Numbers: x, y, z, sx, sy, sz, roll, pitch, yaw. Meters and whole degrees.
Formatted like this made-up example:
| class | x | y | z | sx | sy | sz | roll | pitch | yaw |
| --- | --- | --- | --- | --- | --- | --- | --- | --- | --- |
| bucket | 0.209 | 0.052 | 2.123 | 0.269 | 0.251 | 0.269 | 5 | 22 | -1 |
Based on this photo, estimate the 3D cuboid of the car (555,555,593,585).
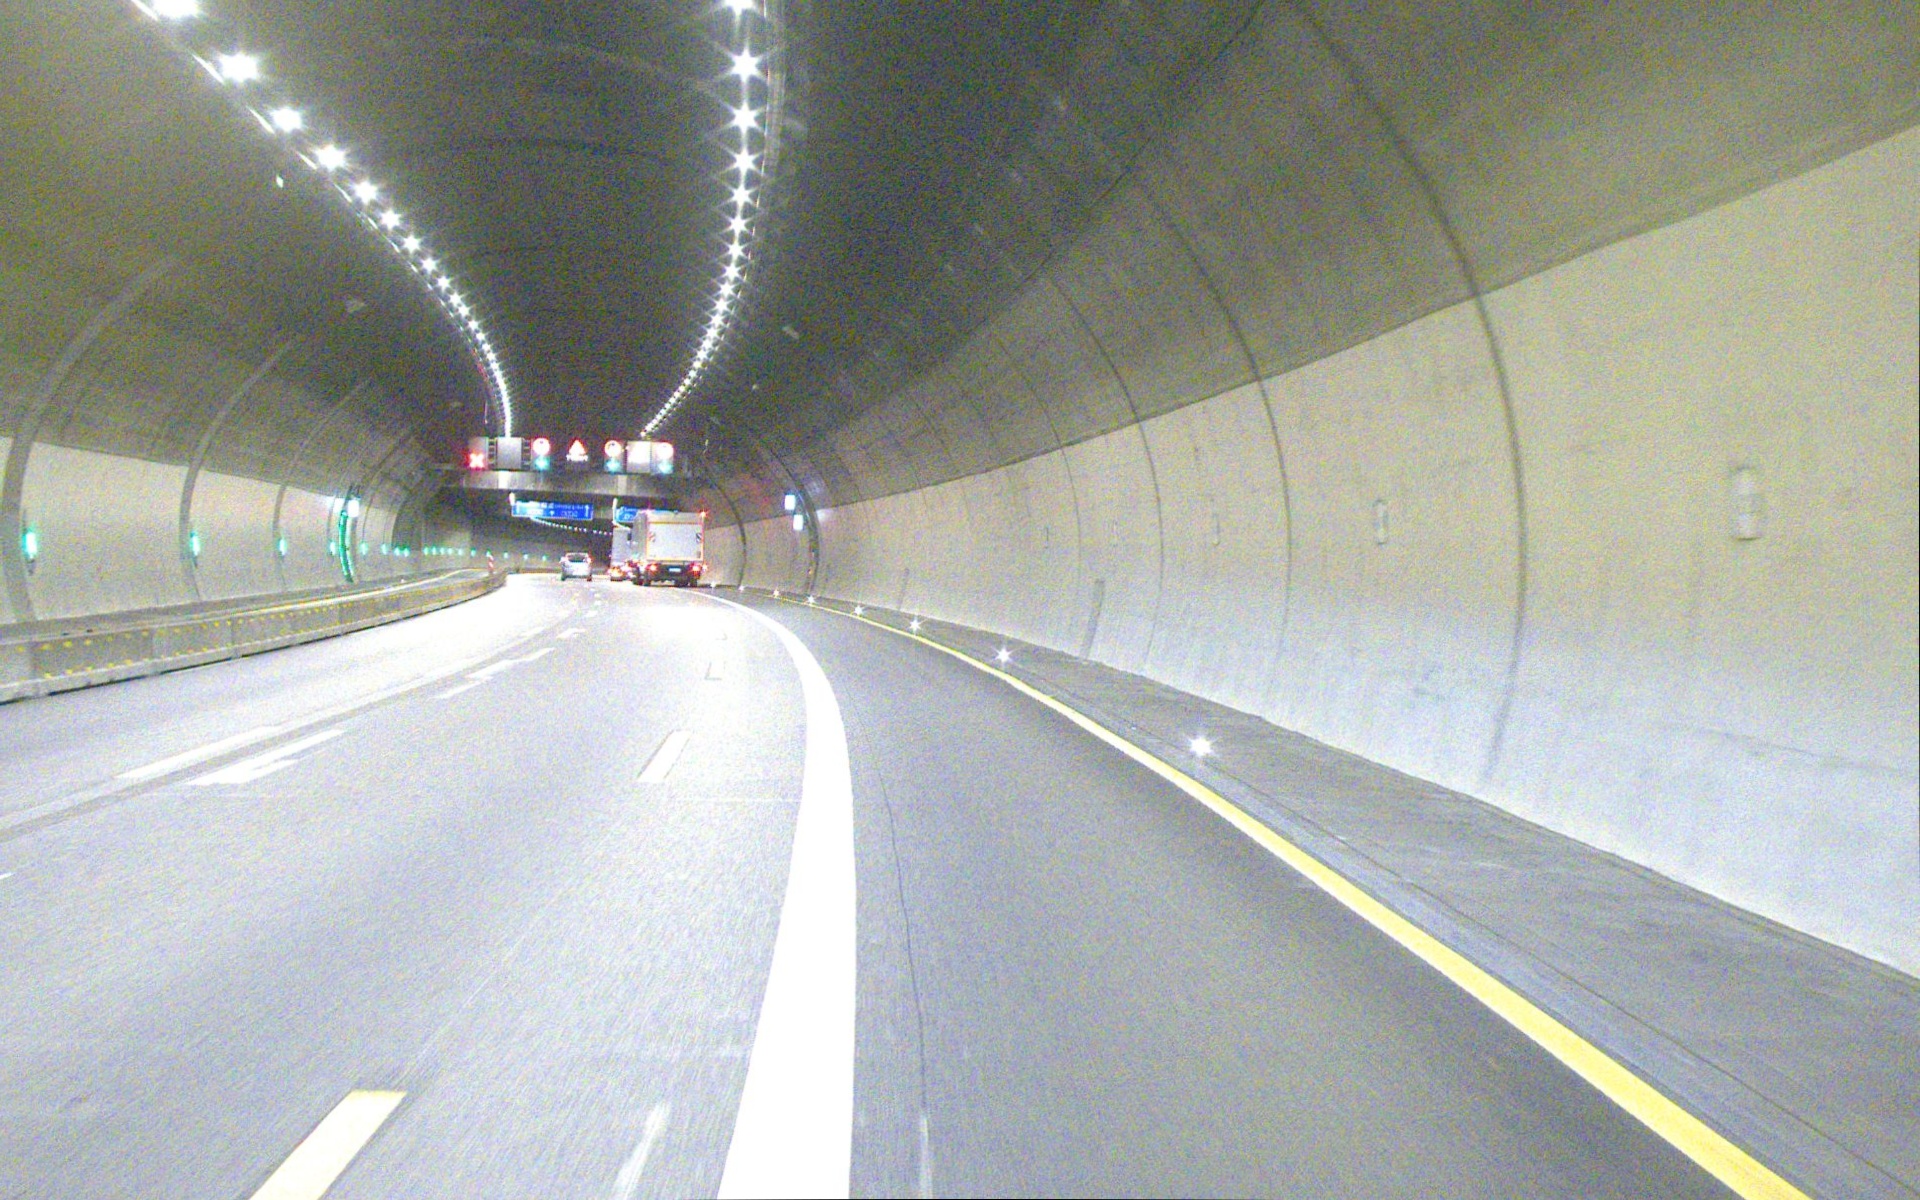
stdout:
| class | x | y | z | sx | sy | sz | roll | pitch | yaw |
| --- | --- | --- | --- | --- | --- | --- | --- | --- | --- |
| car | -21.854 | -1.694 | 194.616 | 1.993 | 1.576 | 4.001 | 2 | 1 | -8 |

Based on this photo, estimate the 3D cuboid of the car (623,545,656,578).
| class | x | y | z | sx | sy | sz | roll | pitch | yaw |
| --- | --- | --- | --- | --- | --- | --- | --- | --- | --- |
| car | -20.377 | -2.452 | 218.631 | 1.993 | 2.007 | 4.001 | 1 | 1 | -5 |

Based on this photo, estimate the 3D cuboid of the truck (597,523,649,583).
| class | x | y | z | sx | sy | sz | roll | pitch | yaw |
| --- | --- | --- | --- | --- | --- | --- | --- | --- | --- |
| truck | -25.299 | -3.540 | 257.803 | 3.473 | 4.301 | 10.954 | 1 | 1 | -7 |

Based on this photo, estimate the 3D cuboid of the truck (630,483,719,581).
| class | x | y | z | sx | sy | sz | roll | pitch | yaw |
| --- | --- | --- | --- | --- | --- | --- | --- | --- | --- |
| truck | -13.334 | -3.166 | 159.723 | 3.473 | 4.301 | 10.954 | 2 | 1 | -7 |
